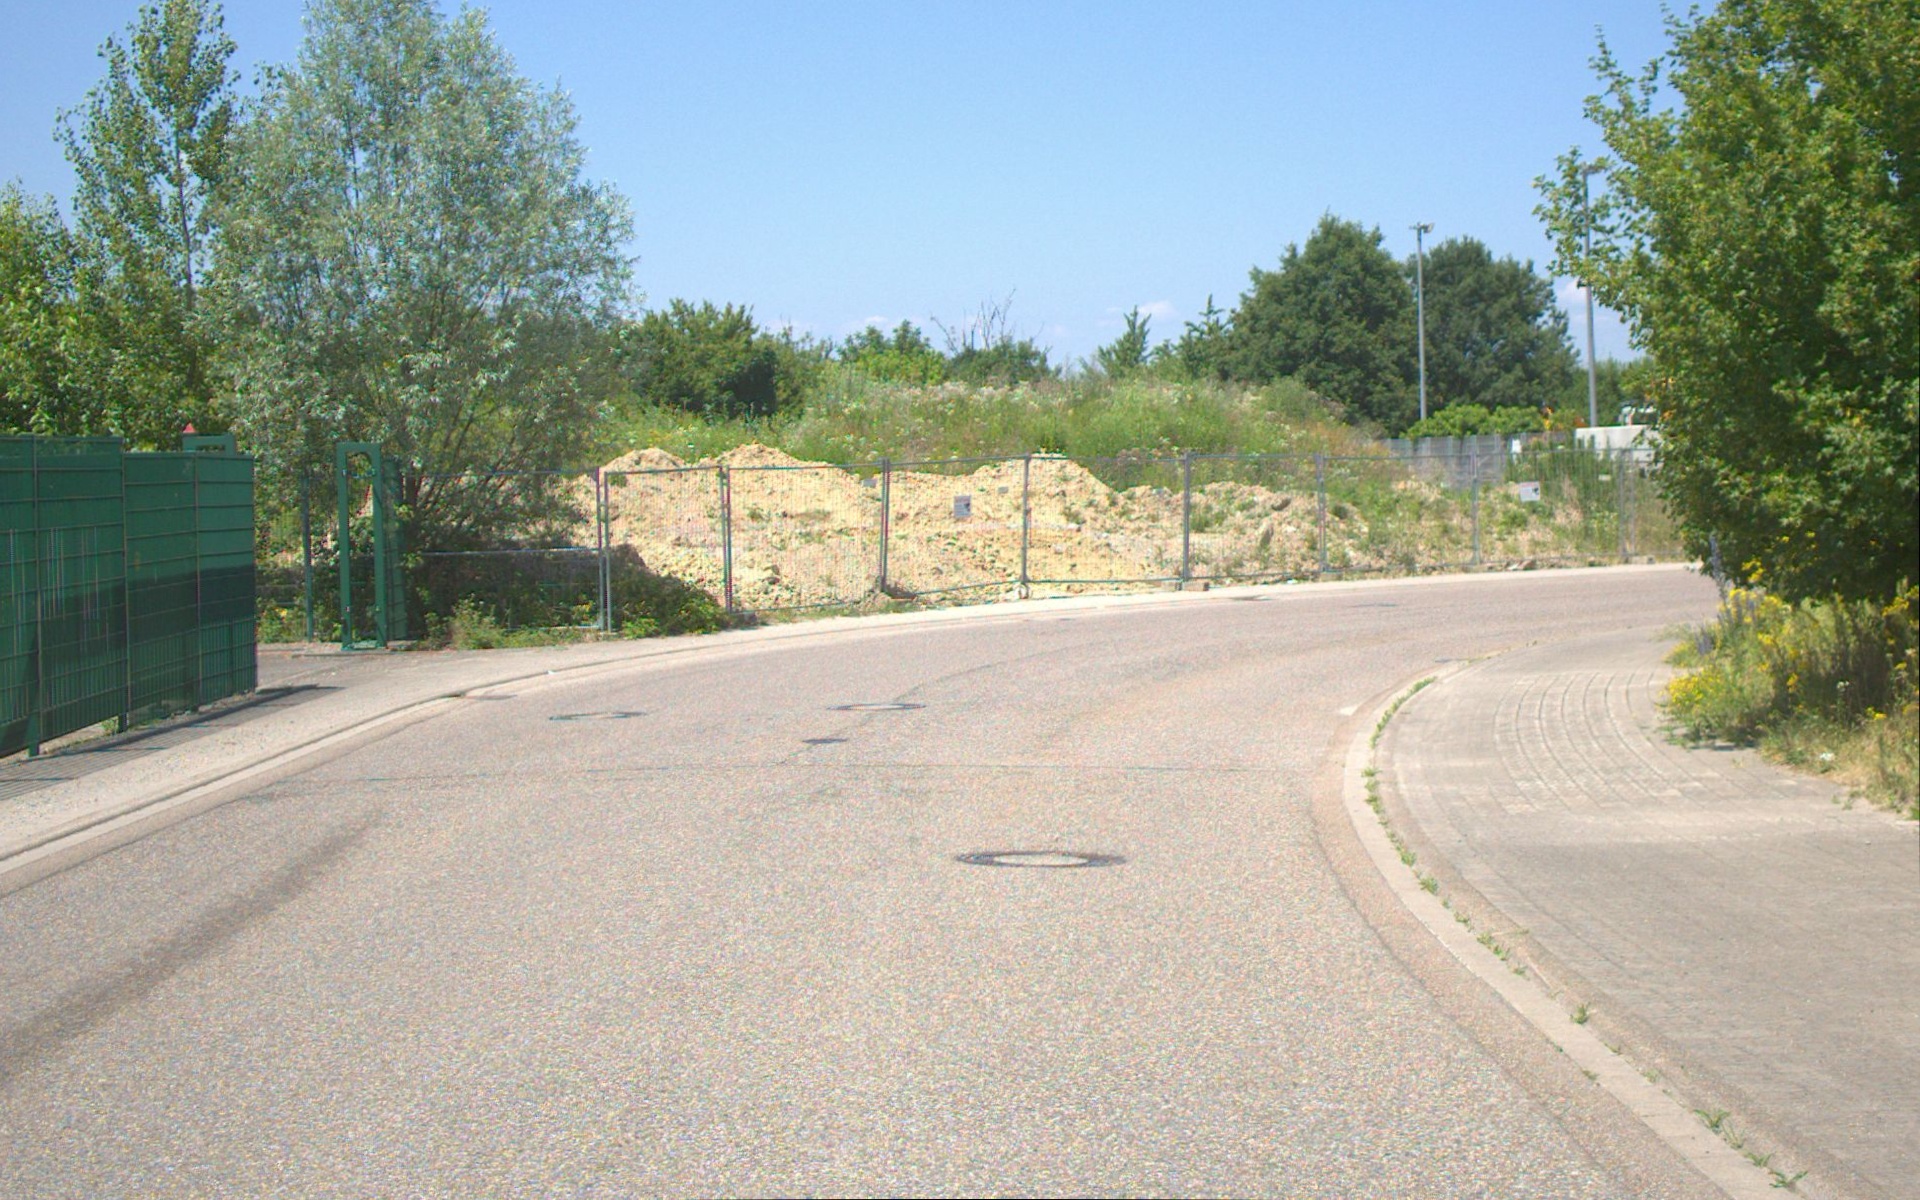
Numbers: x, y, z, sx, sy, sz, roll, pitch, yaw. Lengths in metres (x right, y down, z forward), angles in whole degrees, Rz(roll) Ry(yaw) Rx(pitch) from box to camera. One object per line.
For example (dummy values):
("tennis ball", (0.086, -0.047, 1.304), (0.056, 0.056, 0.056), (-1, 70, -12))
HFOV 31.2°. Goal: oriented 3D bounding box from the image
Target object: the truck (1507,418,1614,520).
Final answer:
("truck", (18.525, -4.024, 106.197), (1.993, 2.974, 4.646), (-2, 1, -5))
